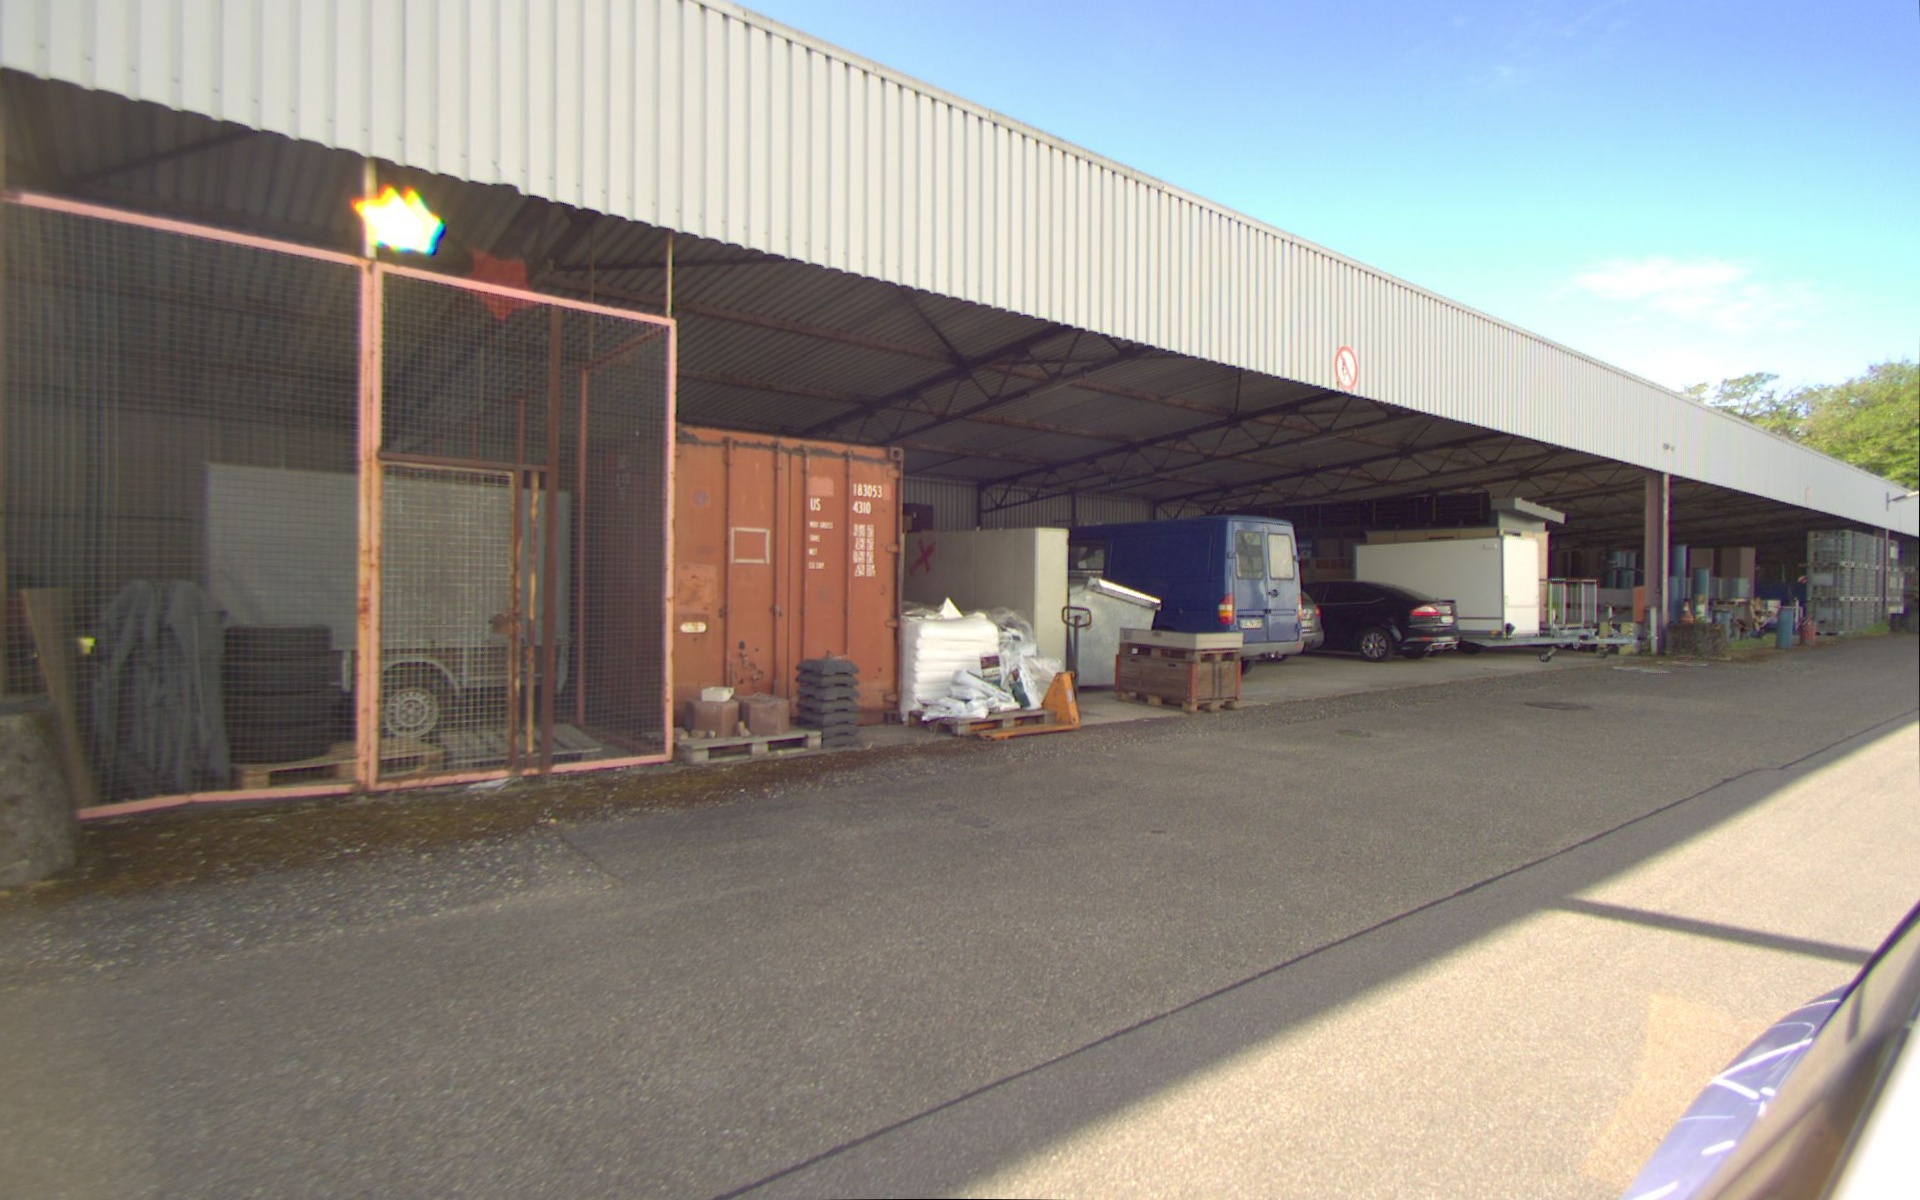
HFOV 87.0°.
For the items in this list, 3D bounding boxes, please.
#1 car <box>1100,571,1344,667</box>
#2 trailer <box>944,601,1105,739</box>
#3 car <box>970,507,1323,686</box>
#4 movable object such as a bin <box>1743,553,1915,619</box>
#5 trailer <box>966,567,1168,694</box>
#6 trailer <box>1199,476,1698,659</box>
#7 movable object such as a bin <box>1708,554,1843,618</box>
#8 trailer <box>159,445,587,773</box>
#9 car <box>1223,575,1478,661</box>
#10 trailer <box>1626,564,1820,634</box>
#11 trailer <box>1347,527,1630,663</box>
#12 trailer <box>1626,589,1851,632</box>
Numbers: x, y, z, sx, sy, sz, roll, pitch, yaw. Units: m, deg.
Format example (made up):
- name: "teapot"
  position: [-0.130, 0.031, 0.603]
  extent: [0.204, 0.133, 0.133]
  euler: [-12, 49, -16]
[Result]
- name: "car"
  position: [4.628, 0.255, 18.301]
  extent: [1.808, 1.532, 3.970]
  euler: [-1, 2, -41]
- name: "trailer"
  position: [0.617, 0.598, 9.303]
  extent: [1.520, 1.132, 0.553]
  euler: [-1, 2, -41]
- name: "car"
  position: [2.661, -0.112, 15.794]
  extent: [2.114, 2.309, 5.344]
  euler: [-1, 2, -39]
- name: "movable object such as a bin"
  position: [41.778, -0.702, 48.784]
  extent: [2.769, 2.961, 5.849]
  euler: [0, 1, -38]
- name: "trailer"
  position: [1.372, 0.330, 13.281]
  extent: [1.705, 1.484, 2.046]
  euler: [0, 2, -35]
- name: "trailer"
  position: [10.611, -0.779, 23.624]
  extent: [2.750, 3.384, 10.296]
  euler: [0, 2, -38]
- name: "movable object such as a bin"
  position: [38.457, -0.671, 47.801]
  extent: [2.451, 2.866, 4.538]
  euler: [0, 1, -38]
- name: "trailer"
  position: [-4.810, 0.019, 8.349]
  extent: [2.755, 2.170, 1.923]
  euler: [0, 2, -41]
- name: "car"
  position: [7.444, 0.266, 19.620]
  extent: [1.837, 1.490, 4.255]
  euler: [0, 1, -41]
- name: "trailer"
  position: [23.913, -0.104, 31.852]
  extent: [2.123, 2.015, 4.436]
  euler: [-1, 2, -37]
- name: "trailer"
  position: [10.304, -0.177, 20.046]
  extent: [2.010, 2.371, 4.529]
  euler: [-1, 2, -37]
- name: "trailer"
  position: [26.185, 0.293, 34.263]
  extent: [1.939, 1.200, 5.741]
  euler: [-1, 2, -40]
